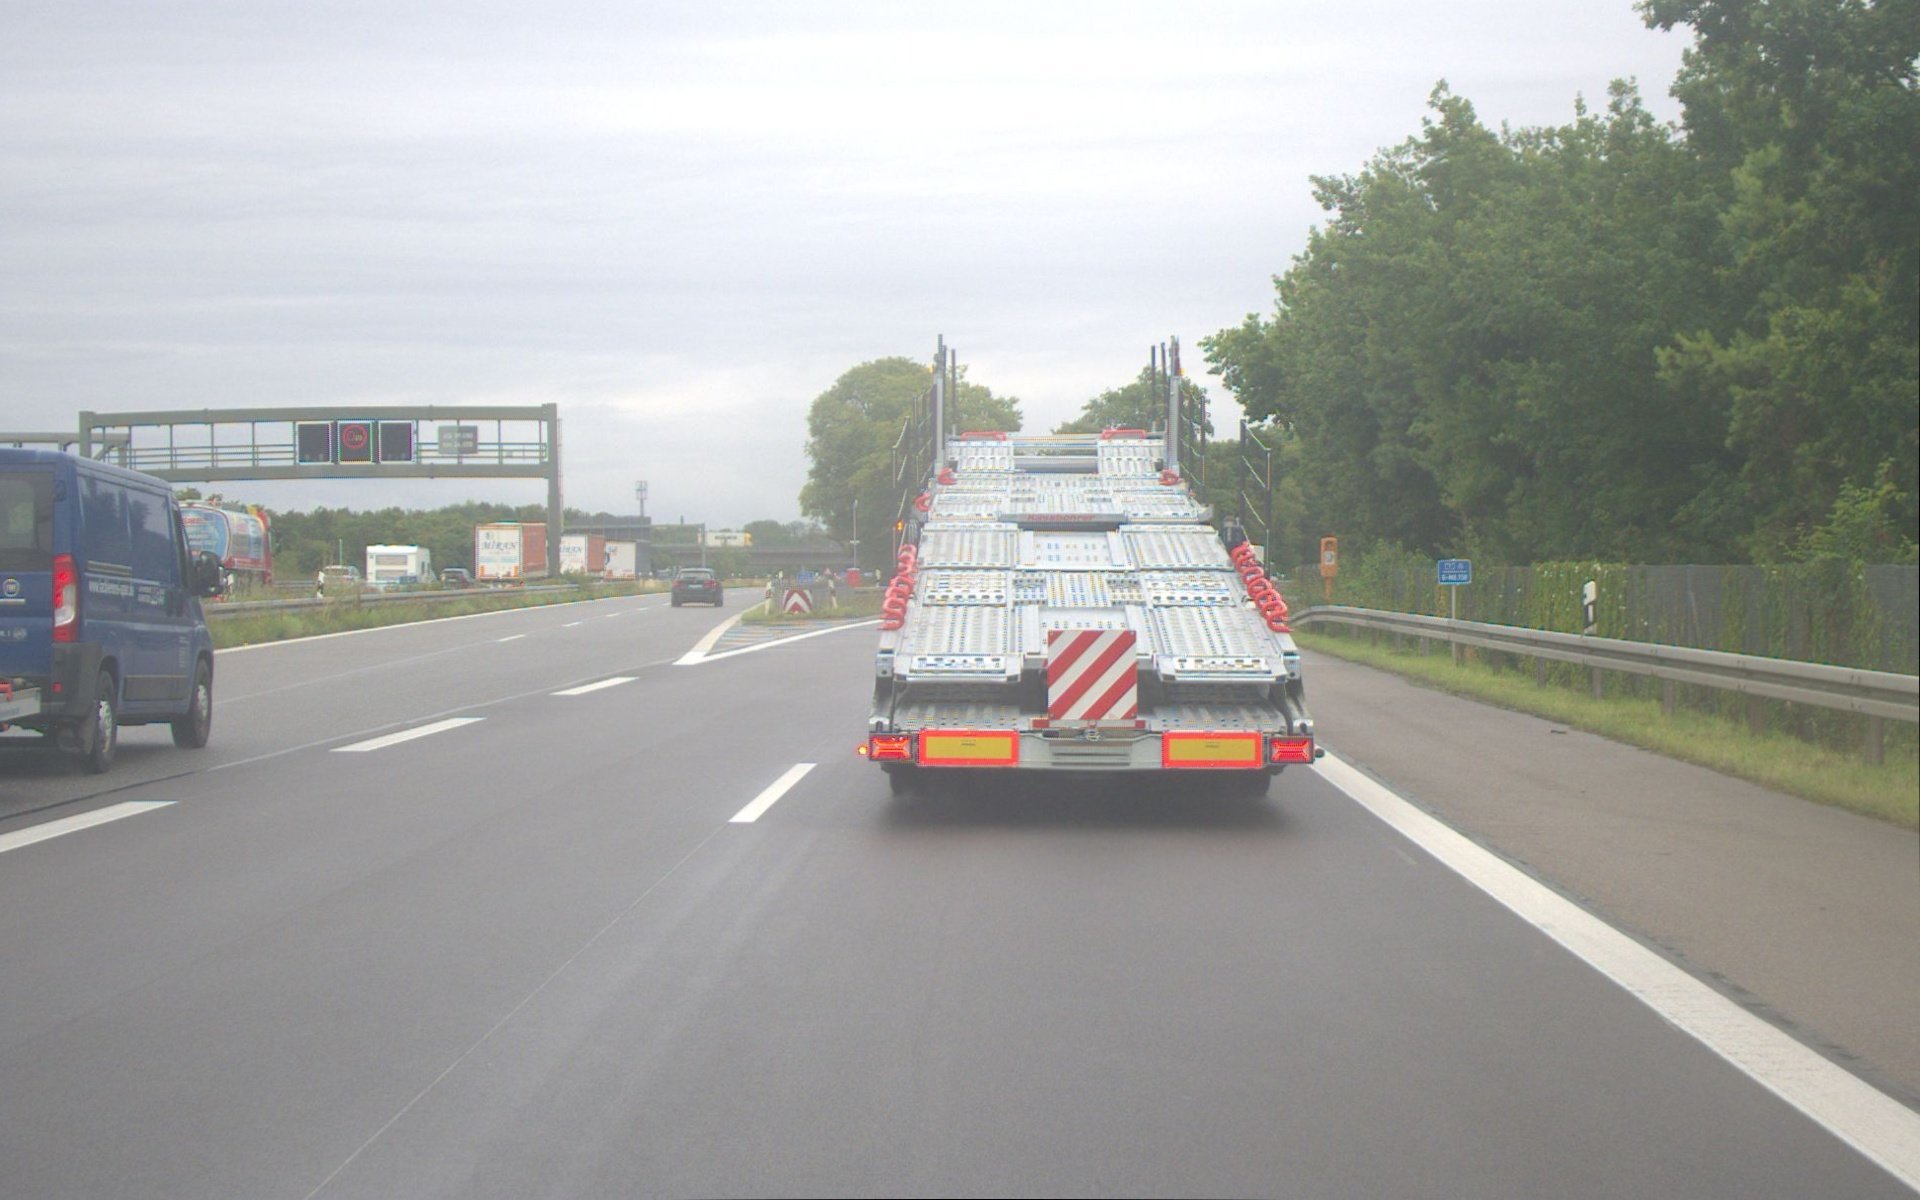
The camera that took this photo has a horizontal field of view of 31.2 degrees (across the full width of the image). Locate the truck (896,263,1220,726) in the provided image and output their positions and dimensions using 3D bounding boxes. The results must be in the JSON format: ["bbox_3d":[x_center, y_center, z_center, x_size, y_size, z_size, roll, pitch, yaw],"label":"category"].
[{"bbox_3d":[0.880,-0.982,34.185,2.739,3.954,9.129,1,1,0],"label":"truck"}]

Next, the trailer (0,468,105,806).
[{"bbox_3d":[-6.855,0.211,19.546,2.484,1.988,7.064,1,1,-2],"label":"trailer"}]

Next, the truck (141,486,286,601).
[{"bbox_3d":[-22.776,-1.720,105.359,2.856,3.353,8.632,0,1,-2],"label":"truck"}]

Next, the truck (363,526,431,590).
[{"bbox_3d":[-24.271,-1.830,148.372,2.243,2.695,5.280,1,1,-2],"label":"truck"}]

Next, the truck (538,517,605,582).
[{"bbox_3d":[-27.178,-3.557,241.265,3.733,4.402,11.898,1,1,-2],"label":"truck"}]

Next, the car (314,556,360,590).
[{"bbox_3d":[-28.999,-1.262,160.080,1.682,1.525,4.001,1,1,-4],"label":"car"}]

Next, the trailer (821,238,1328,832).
[{"bbox_3d":[0.741,-0.439,24.351,2.777,3.273,10.407,1,1,1],"label":"trailer"}]

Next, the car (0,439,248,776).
[{"bbox_3d":[-7.149,0.003,26.181,2.372,2.259,6.257,1,1,-2],"label":"car"}]

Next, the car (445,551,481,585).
[{"bbox_3d":[-30.173,-1.954,208.691,1.729,2.007,4.000,1,0,-2],"label":"car"}]

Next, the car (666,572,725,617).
[{"bbox_3d":[-9.787,-0.208,127.567,1.961,1.632,5.625,1,0,-2],"label":"car"}]

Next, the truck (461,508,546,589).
[{"bbox_3d":[-25.696,-2.885,194.043,3.733,4.402,10.196,1,1,-2],"label":"truck"}]
